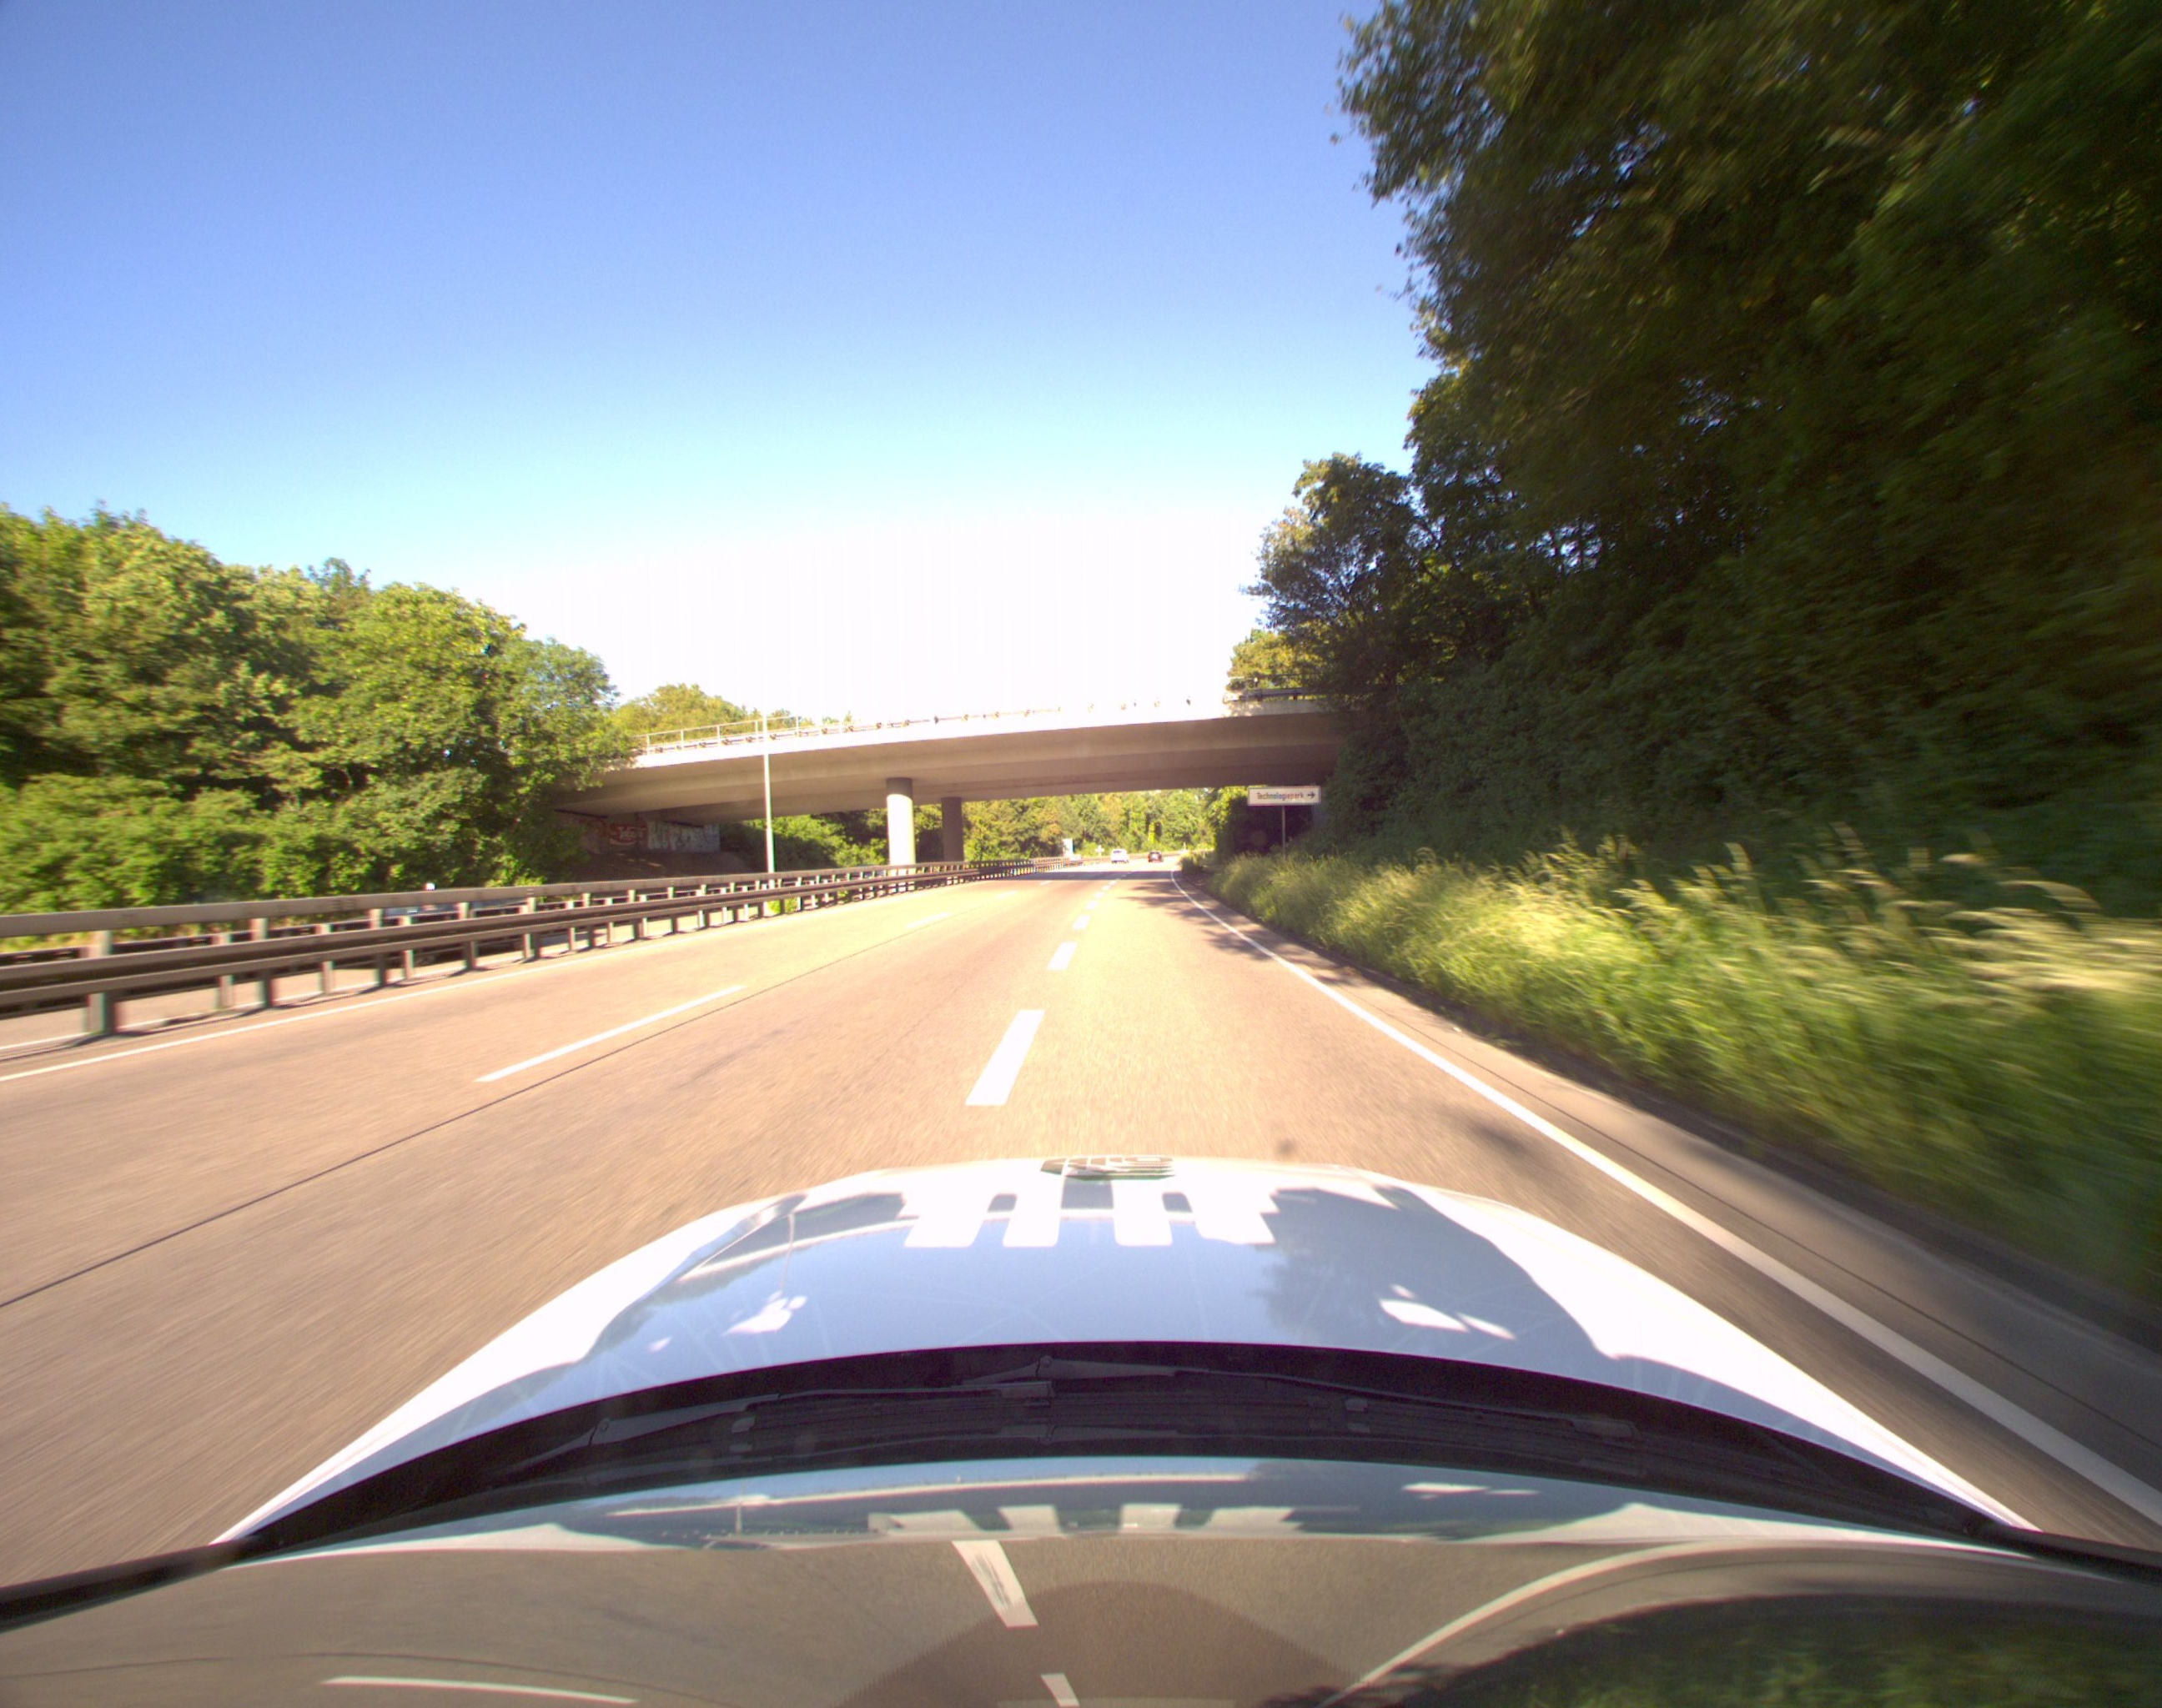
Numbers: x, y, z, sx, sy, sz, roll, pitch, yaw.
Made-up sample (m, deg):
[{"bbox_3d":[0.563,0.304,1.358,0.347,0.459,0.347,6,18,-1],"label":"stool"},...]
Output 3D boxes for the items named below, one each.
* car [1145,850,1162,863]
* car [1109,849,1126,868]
[{"bbox_3d":[9.718,0.274,108.896,1.728,1.662,3.957,-2,0,11],"label":"car"},{"bbox_3d":[4.651,0.581,103.423,1.984,2.277,4.006,-2,0,5],"label":"car"}]
